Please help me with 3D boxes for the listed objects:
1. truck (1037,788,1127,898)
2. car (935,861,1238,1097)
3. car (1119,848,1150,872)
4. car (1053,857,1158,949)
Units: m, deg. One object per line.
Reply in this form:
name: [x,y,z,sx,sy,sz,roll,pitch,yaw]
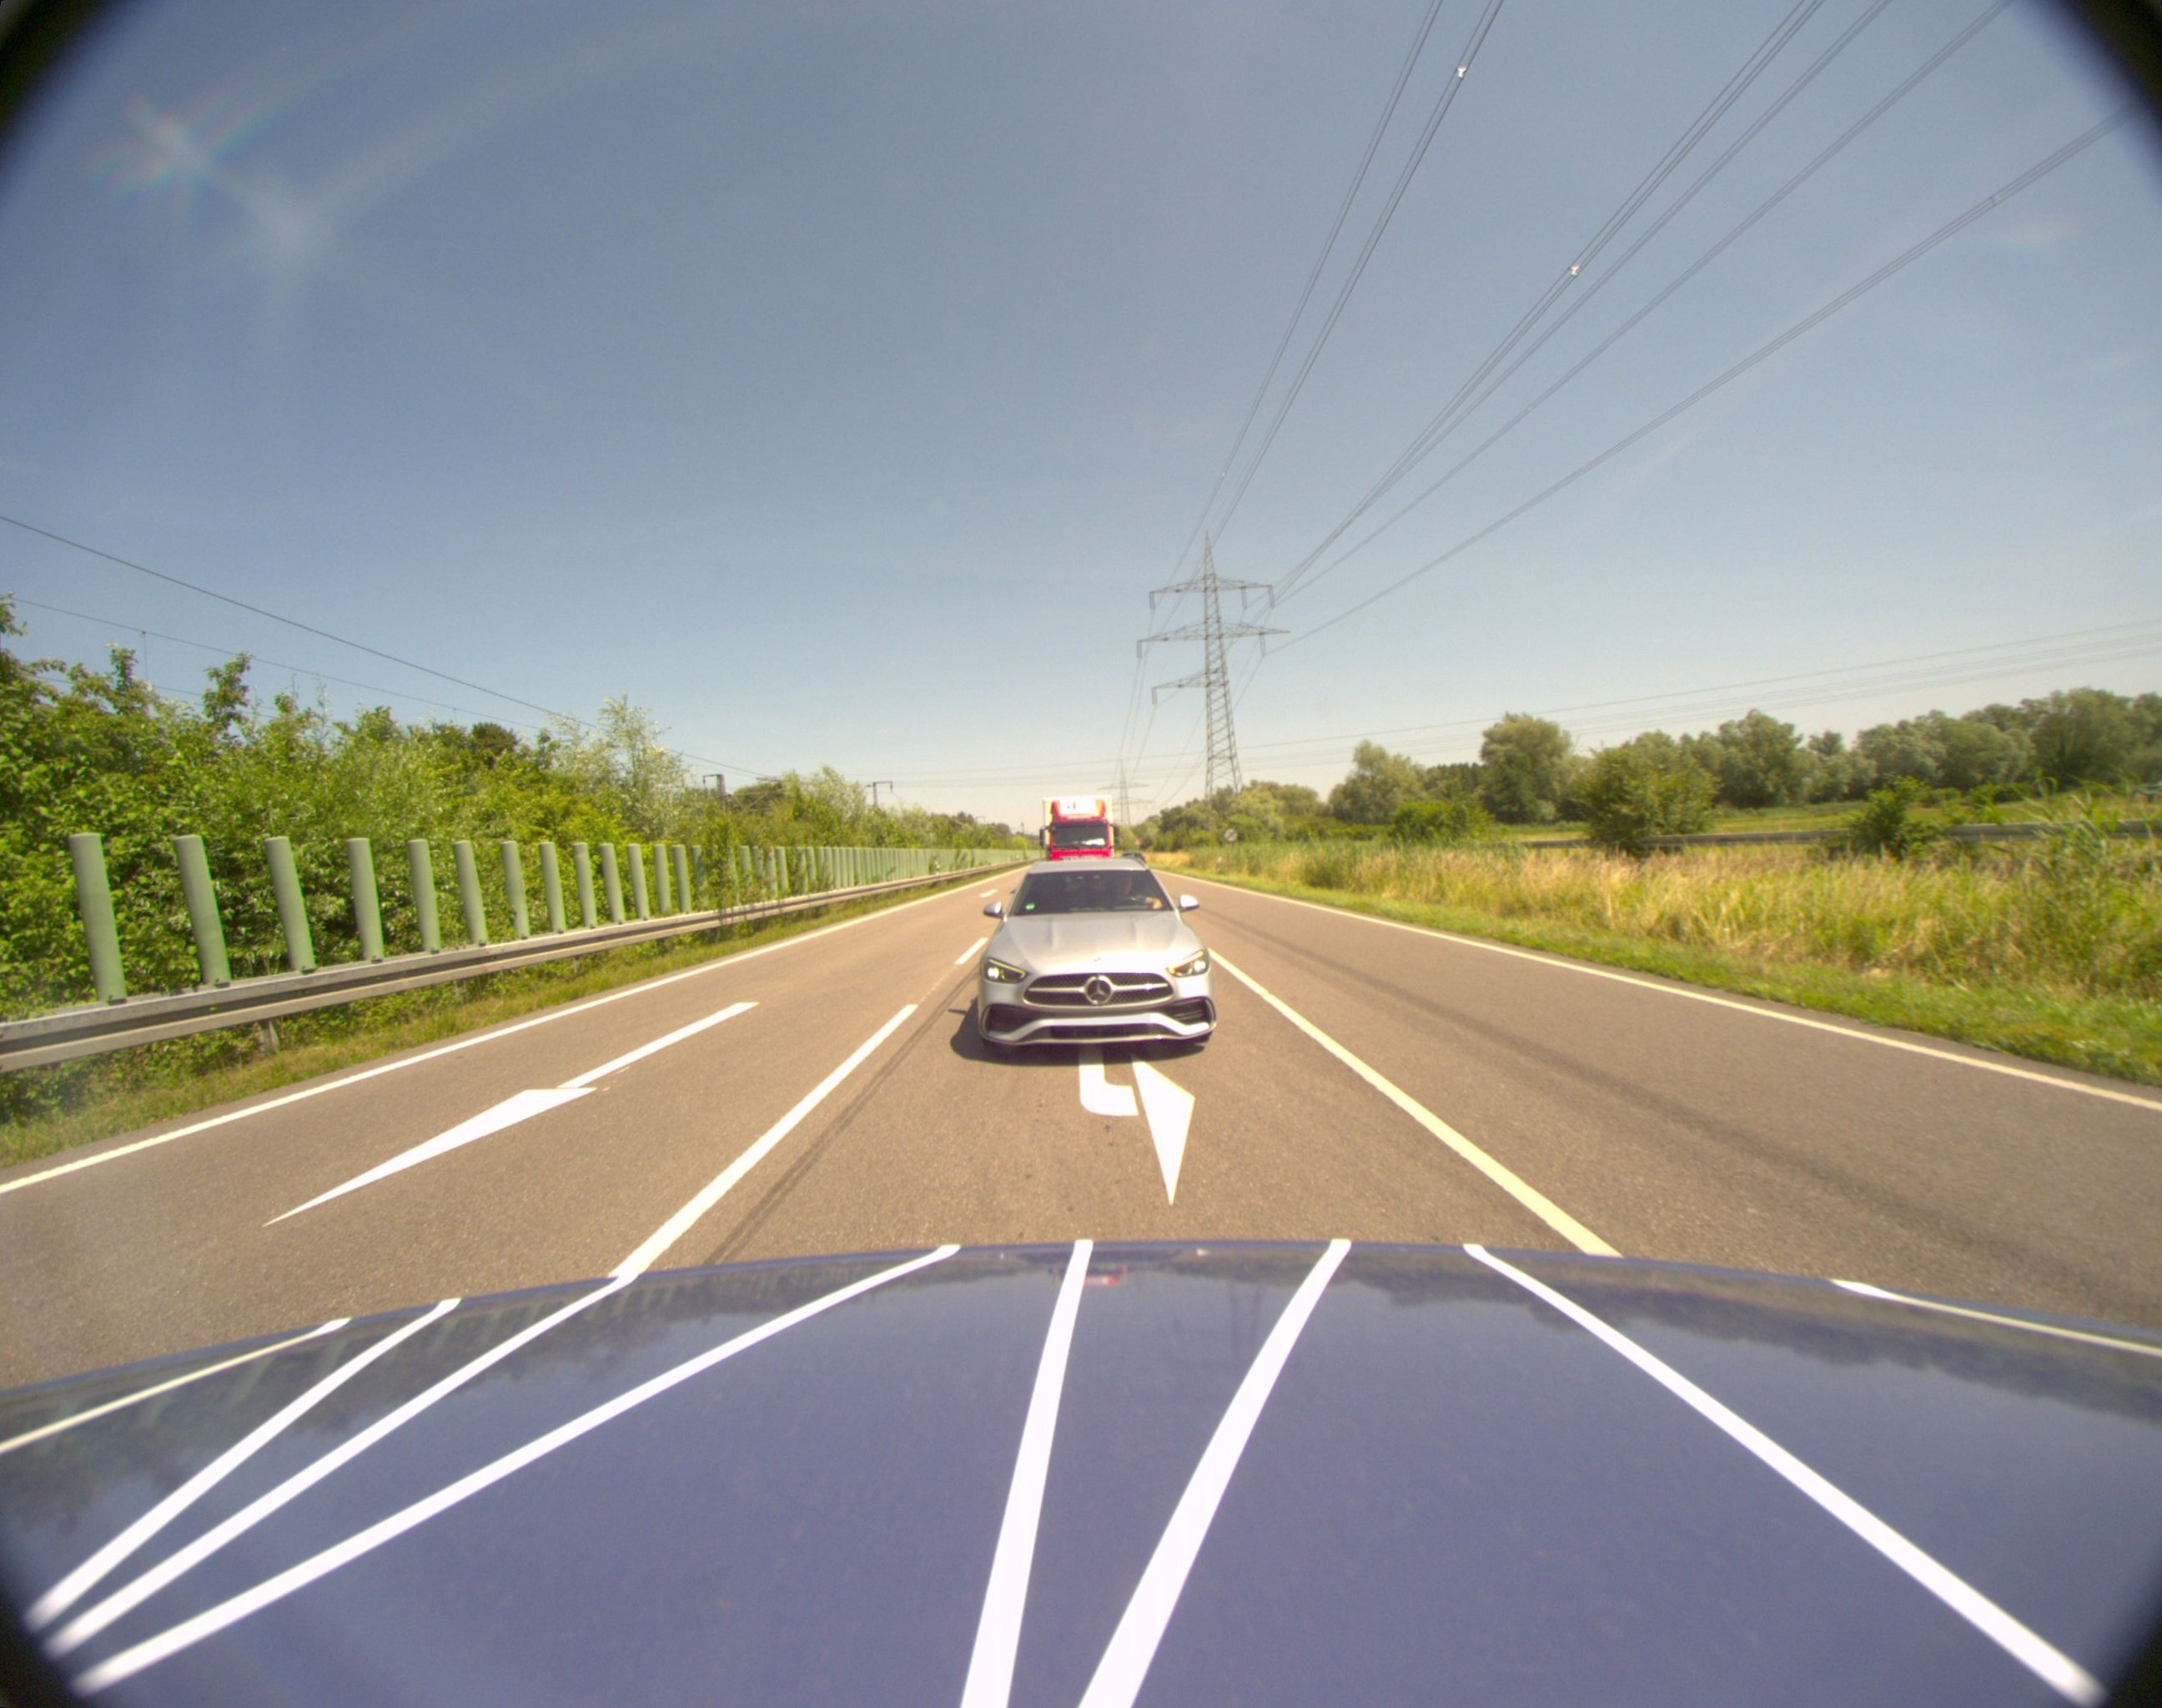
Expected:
truck: [0.013,-0.419,30.083,2.907,3.641,7.155,-4,1,0]
car: [0.049,0.867,7.360,1.998,1.437,4.467,-2,1,0]
car: [3.587,0.389,51.513,1.786,1.455,4.000,-4,1,1]
car: [0.442,0.822,14.826,1.698,1.385,4.467,-2,1,1]
